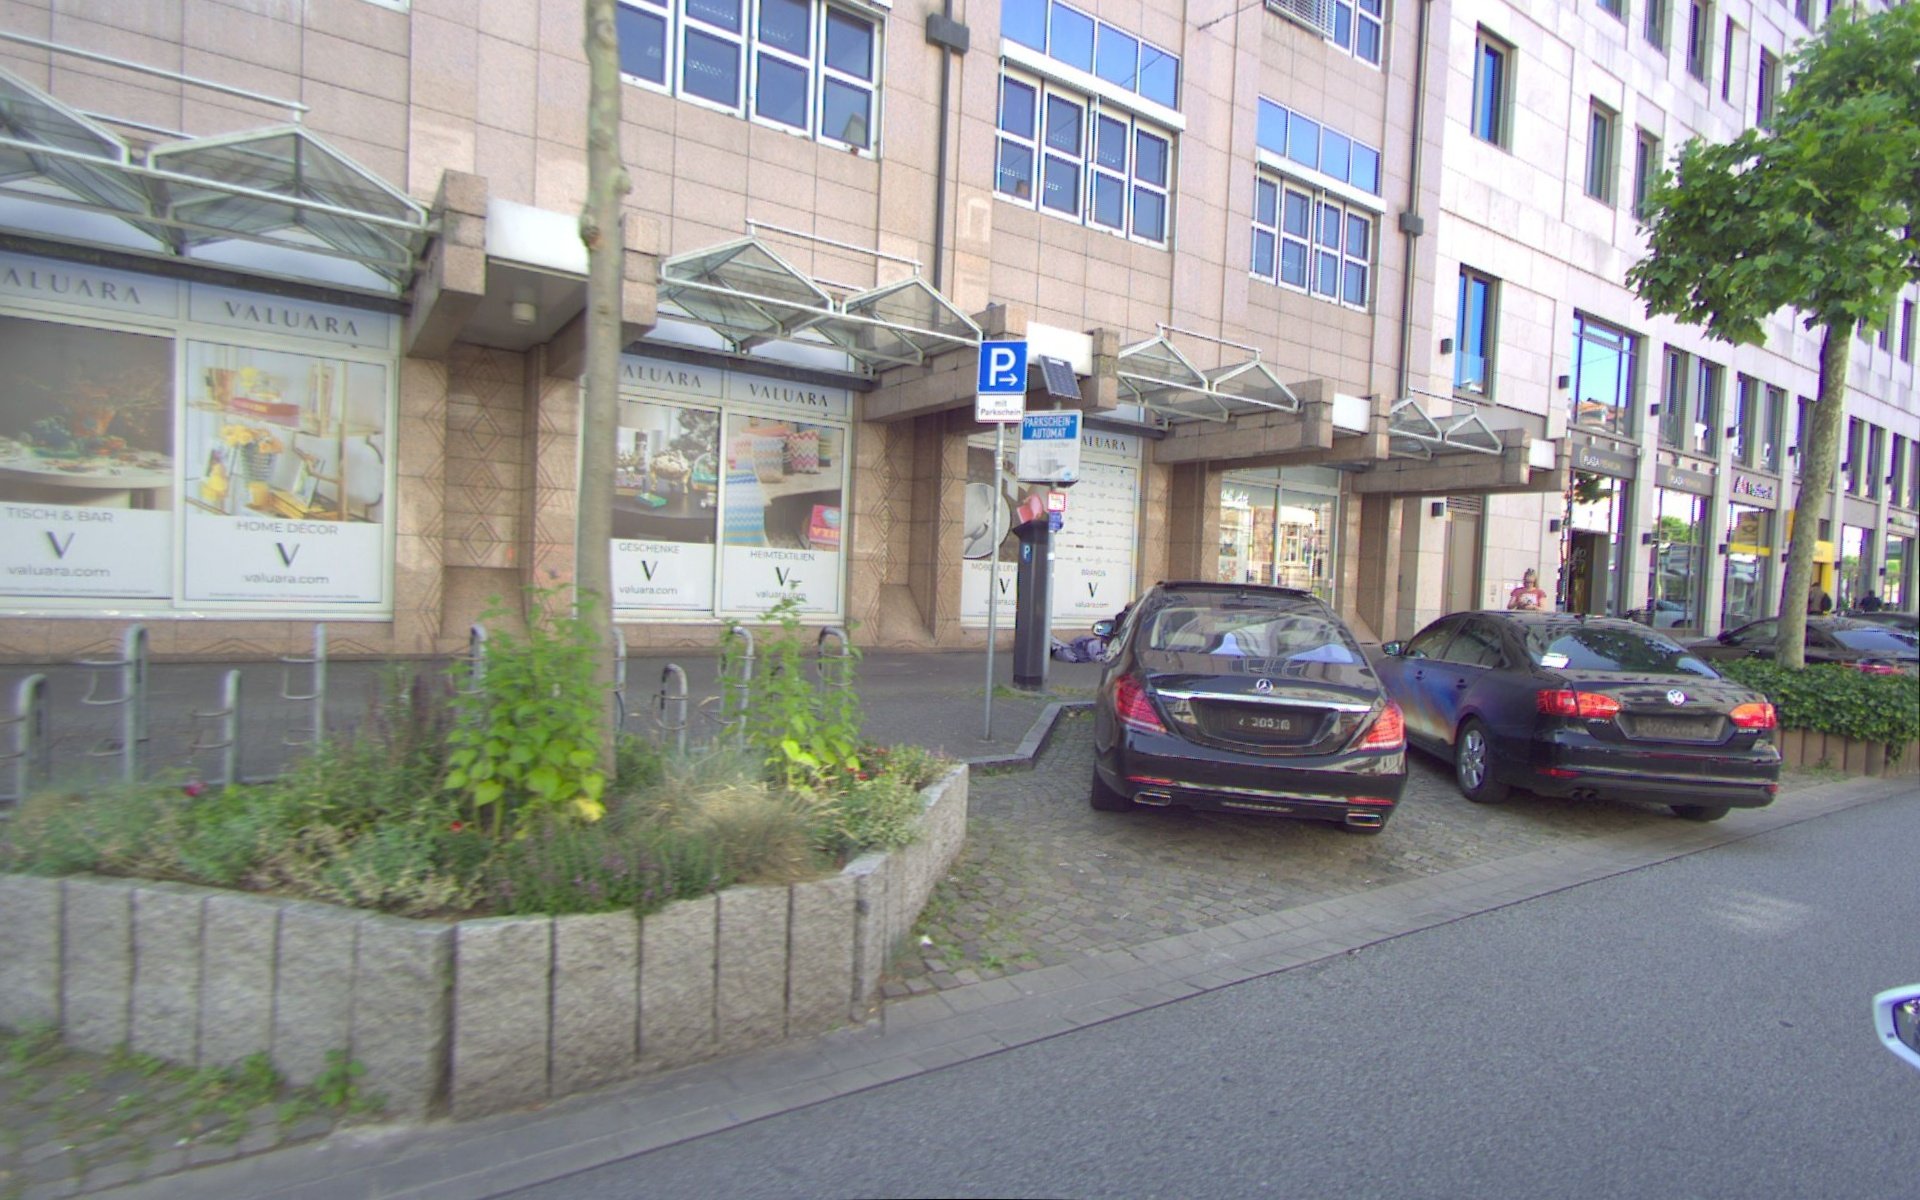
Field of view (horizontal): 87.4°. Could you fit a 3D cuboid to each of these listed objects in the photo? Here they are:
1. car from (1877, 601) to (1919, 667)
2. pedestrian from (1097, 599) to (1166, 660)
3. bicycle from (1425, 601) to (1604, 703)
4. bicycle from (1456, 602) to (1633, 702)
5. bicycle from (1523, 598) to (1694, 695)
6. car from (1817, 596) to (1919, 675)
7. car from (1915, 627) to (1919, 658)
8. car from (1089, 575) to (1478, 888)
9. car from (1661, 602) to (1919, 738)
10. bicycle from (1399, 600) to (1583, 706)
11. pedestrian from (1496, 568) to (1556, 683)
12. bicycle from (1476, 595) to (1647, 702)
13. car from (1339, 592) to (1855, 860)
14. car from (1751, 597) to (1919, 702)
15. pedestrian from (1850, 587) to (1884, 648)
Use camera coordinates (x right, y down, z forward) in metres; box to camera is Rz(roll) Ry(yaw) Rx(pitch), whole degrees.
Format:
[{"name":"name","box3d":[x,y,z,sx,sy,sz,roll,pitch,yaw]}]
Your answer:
[{"name":"car","box3d":[24.156,1.001,23.194,1.754,1.510,3.985,3,5,-16]},{"name":"pedestrian","box3d":[2.561,0.434,15.018,0.766,0.820,0.562,1,6,-34]},{"name":"bicycle","box3d":[7.571,0.676,13.811,0.460,1.145,2.047,1,4,-40]},{"name":"bicycle","box3d":[8.208,0.701,14.196,0.460,1.145,2.047,1,4,-40]},{"name":"bicycle","box3d":[9.929,0.675,15.434,2.041,1.236,0.756,7,4,41]},{"name":"car","box3d":[21.591,0.900,21.946,1.701,1.520,3.957,1,6,-37]},{"name":"car","box3d":[26.981,1.017,25.255,1.669,1.589,3.993,4,5,-8]},{"name":"car","box3d":[2.088,0.633,7.786,1.950,1.554,4.759,3,2,9]},{"name":"car","box3d":[12.493,0.902,14.631,1.868,1.427,4.652,3,3,10]},{"name":"bicycle","box3d":[6.980,0.658,13.330,0.611,1.145,2.053,2,4,-32]},{"name":"pedestrian","box3d":[8.564,0.374,15.192,0.632,1.679,0.560,1,2,-42]},{"name":"bicycle","box3d":[8.721,0.664,14.660,0.364,1.306,2.047,1,4,-40]},{"name":"car","box3d":[4.928,0.777,8.788,1.845,1.442,4.798,3,3,7]},{"name":"car","box3d":[16.688,0.894,17.714,1.798,1.534,4.352,3,3,-3]},{"name":"pedestrian","box3d":[30.522,0.584,33.814,0.693,2.041,0.620,1,1,-33]}]
